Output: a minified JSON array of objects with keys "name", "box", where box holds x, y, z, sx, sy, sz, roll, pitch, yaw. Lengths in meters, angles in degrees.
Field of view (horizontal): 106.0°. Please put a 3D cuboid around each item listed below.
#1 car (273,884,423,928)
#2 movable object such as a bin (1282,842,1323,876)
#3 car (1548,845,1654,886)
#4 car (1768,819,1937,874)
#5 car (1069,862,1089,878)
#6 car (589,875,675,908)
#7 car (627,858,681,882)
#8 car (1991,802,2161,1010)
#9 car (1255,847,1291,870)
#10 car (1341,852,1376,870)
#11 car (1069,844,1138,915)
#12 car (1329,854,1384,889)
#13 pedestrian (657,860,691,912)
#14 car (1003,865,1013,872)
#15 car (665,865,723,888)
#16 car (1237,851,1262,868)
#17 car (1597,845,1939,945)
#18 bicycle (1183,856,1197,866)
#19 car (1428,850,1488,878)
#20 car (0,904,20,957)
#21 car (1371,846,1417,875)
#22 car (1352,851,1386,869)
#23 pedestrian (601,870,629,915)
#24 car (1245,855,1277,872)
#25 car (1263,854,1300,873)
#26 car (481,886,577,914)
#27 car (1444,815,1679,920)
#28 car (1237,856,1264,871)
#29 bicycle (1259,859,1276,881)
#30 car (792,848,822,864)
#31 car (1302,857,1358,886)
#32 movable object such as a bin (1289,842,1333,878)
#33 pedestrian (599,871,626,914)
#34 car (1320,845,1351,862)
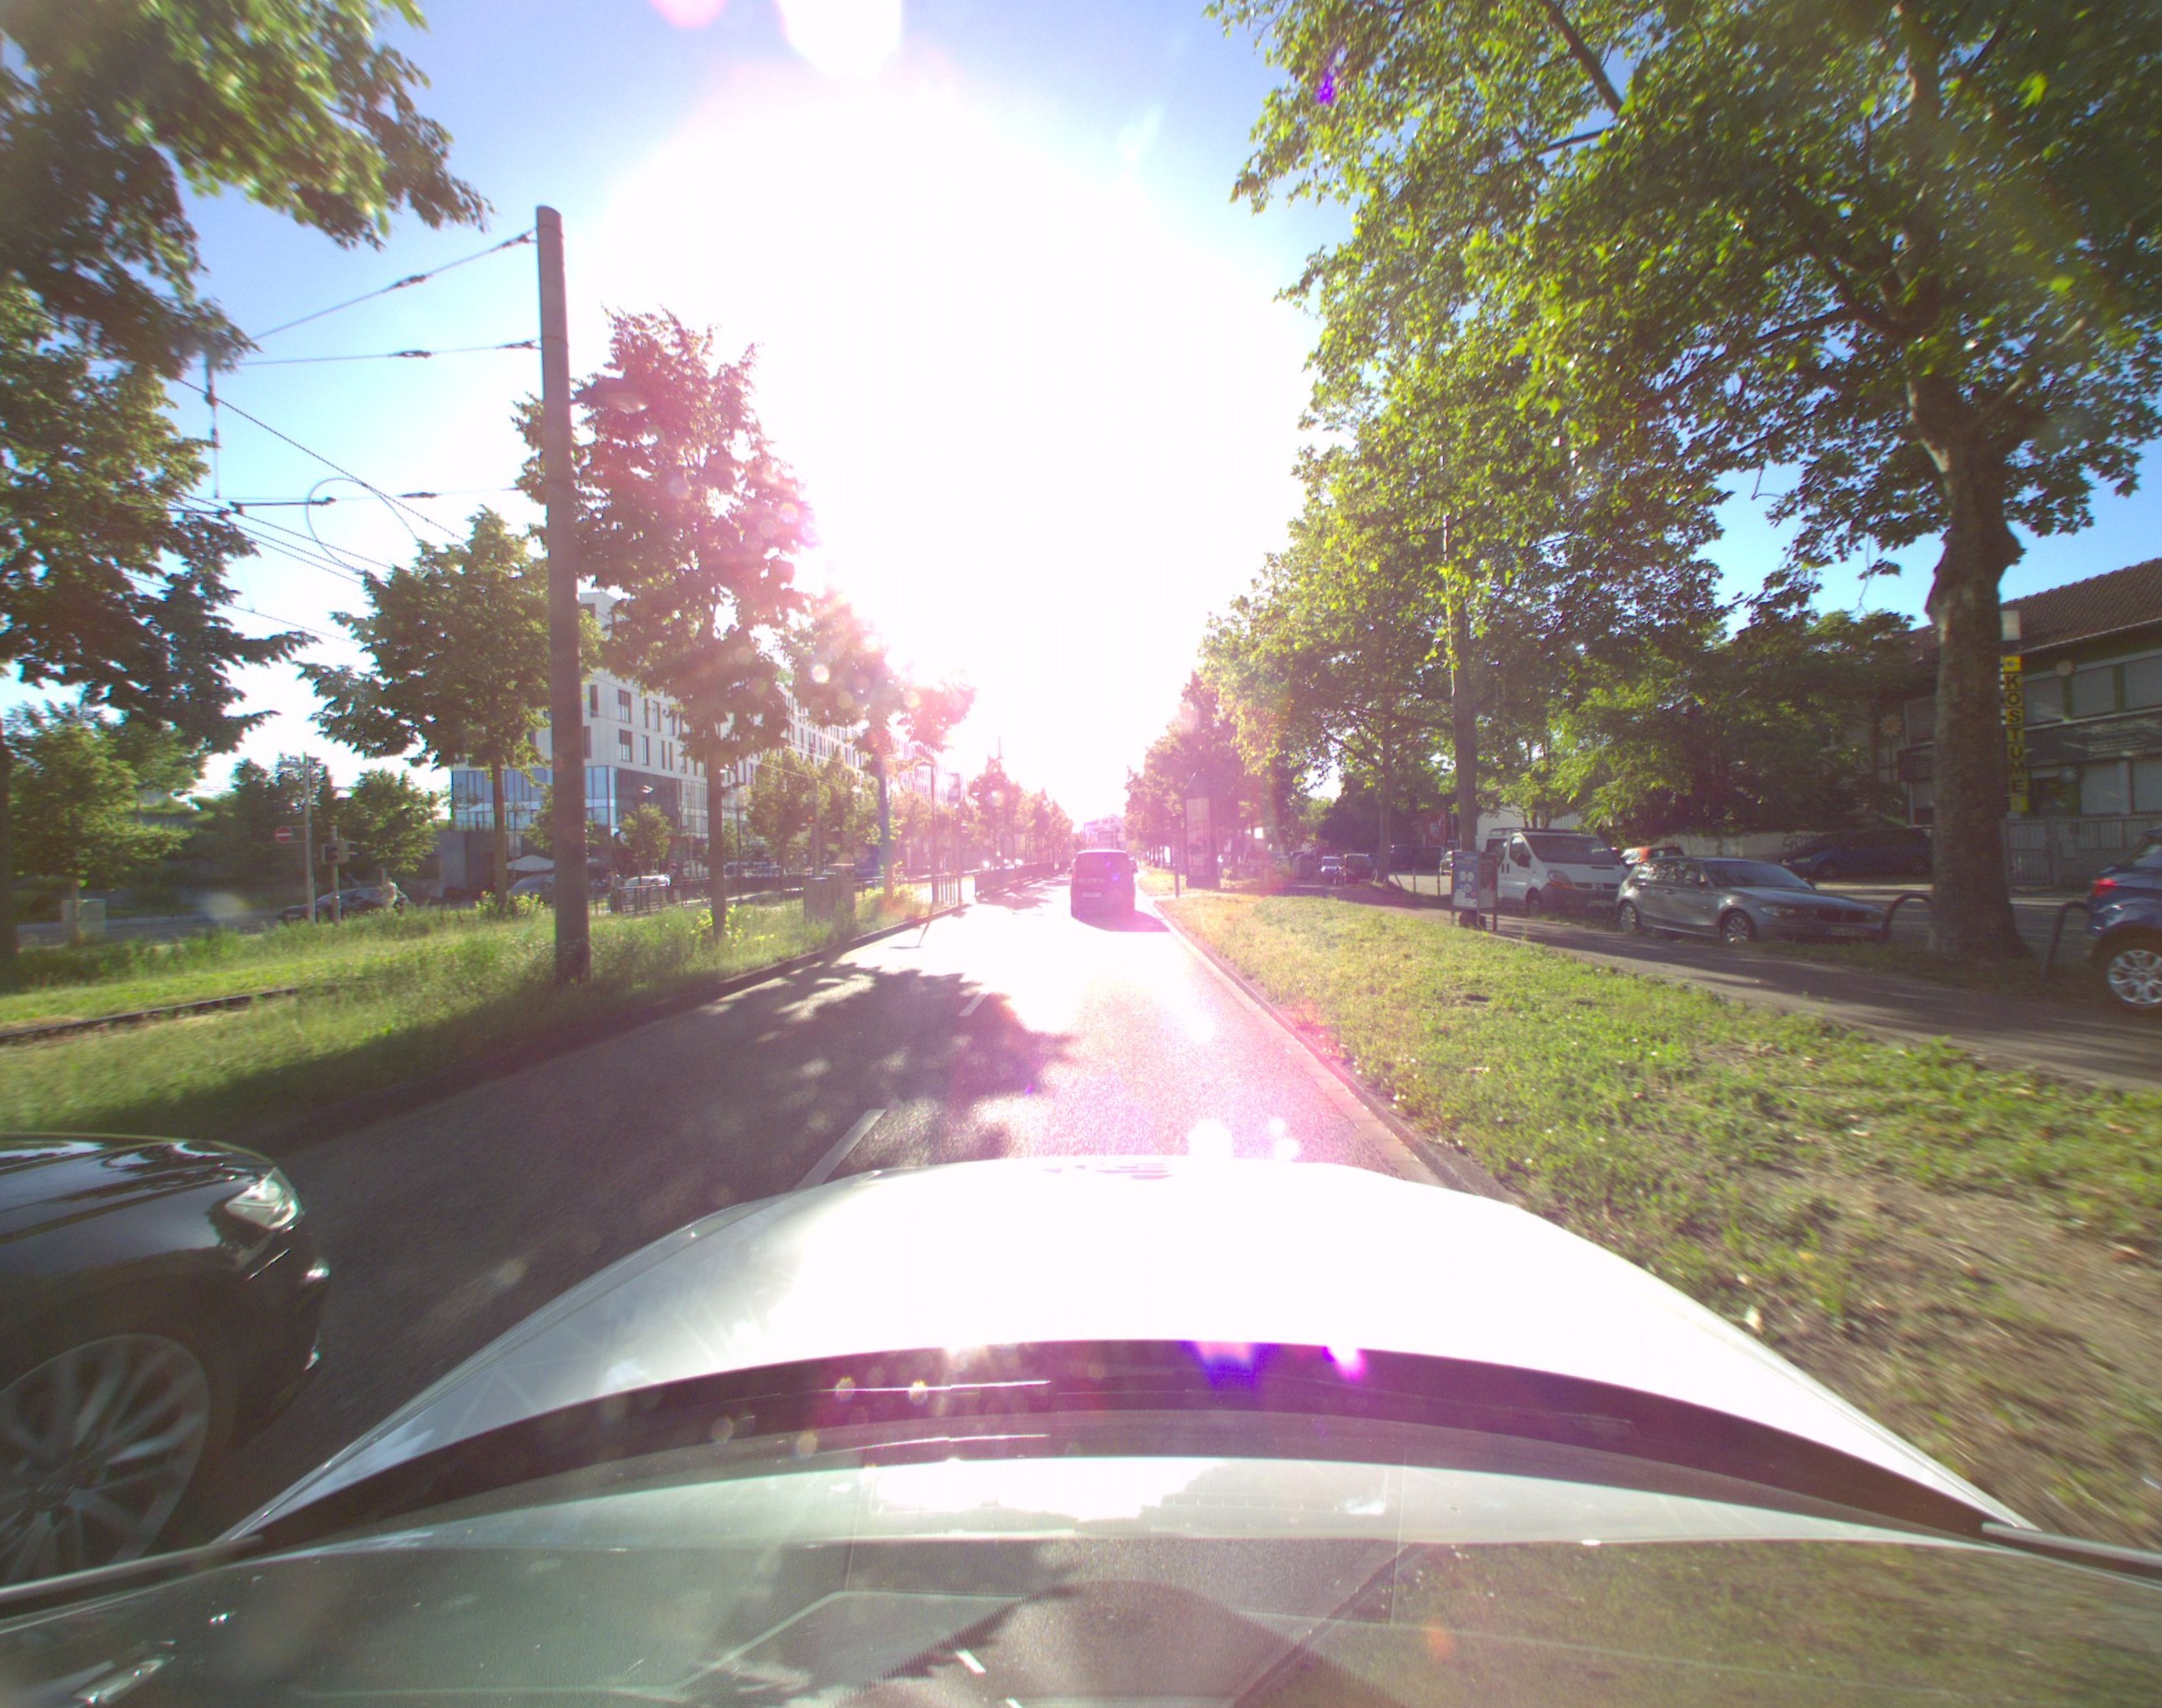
[{"name":"car","box":[-30.261,2.089,33.853,1.871,1.621,4.614,0,-1,3]},{"name":"movable object such as a bin","box":[13.465,0.335,49.570,2.071,2.014,2.139,0,-1,6]},{"name":"car","box":[21.688,0.486,34.186,1.983,1.483,4.331,-3,-1,6]},{"name":"car","box":[26.716,-0.248,28.299,4.067,1.851,1.850,0,-1,2]},{"name":"car","box":[-0.184,1.721,87.770,1.986,1.618,4.002,0,-1,2]},{"name":"car","box":[-21.958,1.788,40.000,1.987,1.486,3.999,0,-1,0]},{"name":"car","box":[-36.833,1.343,70.397,1.985,2.014,4.566,0,-1,3]},{"name":"car","box":[9.317,0.394,5.448,1.729,1.642,4.356,0,-1,3]},{"name":"car","box":[15.546,0.361,66.192,1.864,1.820,4.894,0,-1,2]},{"name":"car","box":[25.830,0.674,76.000,1.863,1.483,4.694,-3,-1,3]},{"name":"car","box":[0.564,0.688,23.184,1.803,1.838,3.998,0,-1,-1]},{"name":"car","box":[12.280,0.787,36.418,1.654,1.500,2.993,0,-1,4]},{"name":"pedestrian","box":[-14.527,1.121,29.077,0.818,1.836,0.726,0,-1,-1]},{"name":"car","box":[-20.607,4.037,229.046,1.983,1.765,4.007,0,-1,6]},{"name":"car","box":[-29.157,1.695,61.547,1.985,1.672,4.614,0,-1,3]},{"name":"car","box":[17.322,0.583,83.879,1.864,1.684,4.001,0,-1,2]},{"name":"car","box":[10.125,0.558,12.520,1.985,1.290,4.056,0,-1,3]},{"name":"bicycle","box":[15.366,1.002,115.149,1.910,1.268,0.479,-1,-1,2]},{"name":"car","box":[23.047,0.635,49.945,1.985,1.640,4.003,0,-1,3]},{"name":"car","box":[-30.717,2.081,20.480,1.871,1.435,4.614,0,-1,3]},{"name":"car","box":[24.161,0.525,63.004,1.863,2.002,4.694,-3,-1,3]},{"name":"car","box":[24.798,0.509,70.245,1.722,1.371,4.320,-4,-1,6]},{"name":"pedestrian","box":[-15.886,1.315,27.769,0.547,1.518,0.589,0,-1,7]},{"name":"car","box":[15.801,0.861,71.719,1.864,1.434,4.904,0,-1,2]},{"name":"car","box":[14.923,0.739,60.741,1.864,1.389,4.001,0,-1,2]},{"name":"car","box":[-30.061,2.466,44.566,1.905,1.325,4.614,0,-1,3]},{"name":"car","box":[10.521,0.299,18.547,2.180,2.014,5.824,0,-1,3]},{"name":"car","box":[16.352,0.922,78.796,1.864,1.368,4.001,0,-1,2]},{"name":"bicycle","box":[9.201,0.803,40.224,0.491,1.046,1.906,0,-1,4]},{"name":"car","box":[-34.598,0.287,102.960,1.985,2.014,4.566,0,-1,3]},{"name":"car","box":[12.752,0.882,42.010,1.988,1.384,4.754,0,-1,8]},{"name":"movable object such as a bin","box":[13.195,0.363,46.810,2.071,2.014,2.139,0,-1,6]},{"name":"pedestrian","box":[-16.364,1.337,28.466,0.540,1.497,0.604,0,-1,5]},{"name":"car","box":[26.080,0.002,83.627,1.863,1.547,4.694,-3,-1,3]}]
